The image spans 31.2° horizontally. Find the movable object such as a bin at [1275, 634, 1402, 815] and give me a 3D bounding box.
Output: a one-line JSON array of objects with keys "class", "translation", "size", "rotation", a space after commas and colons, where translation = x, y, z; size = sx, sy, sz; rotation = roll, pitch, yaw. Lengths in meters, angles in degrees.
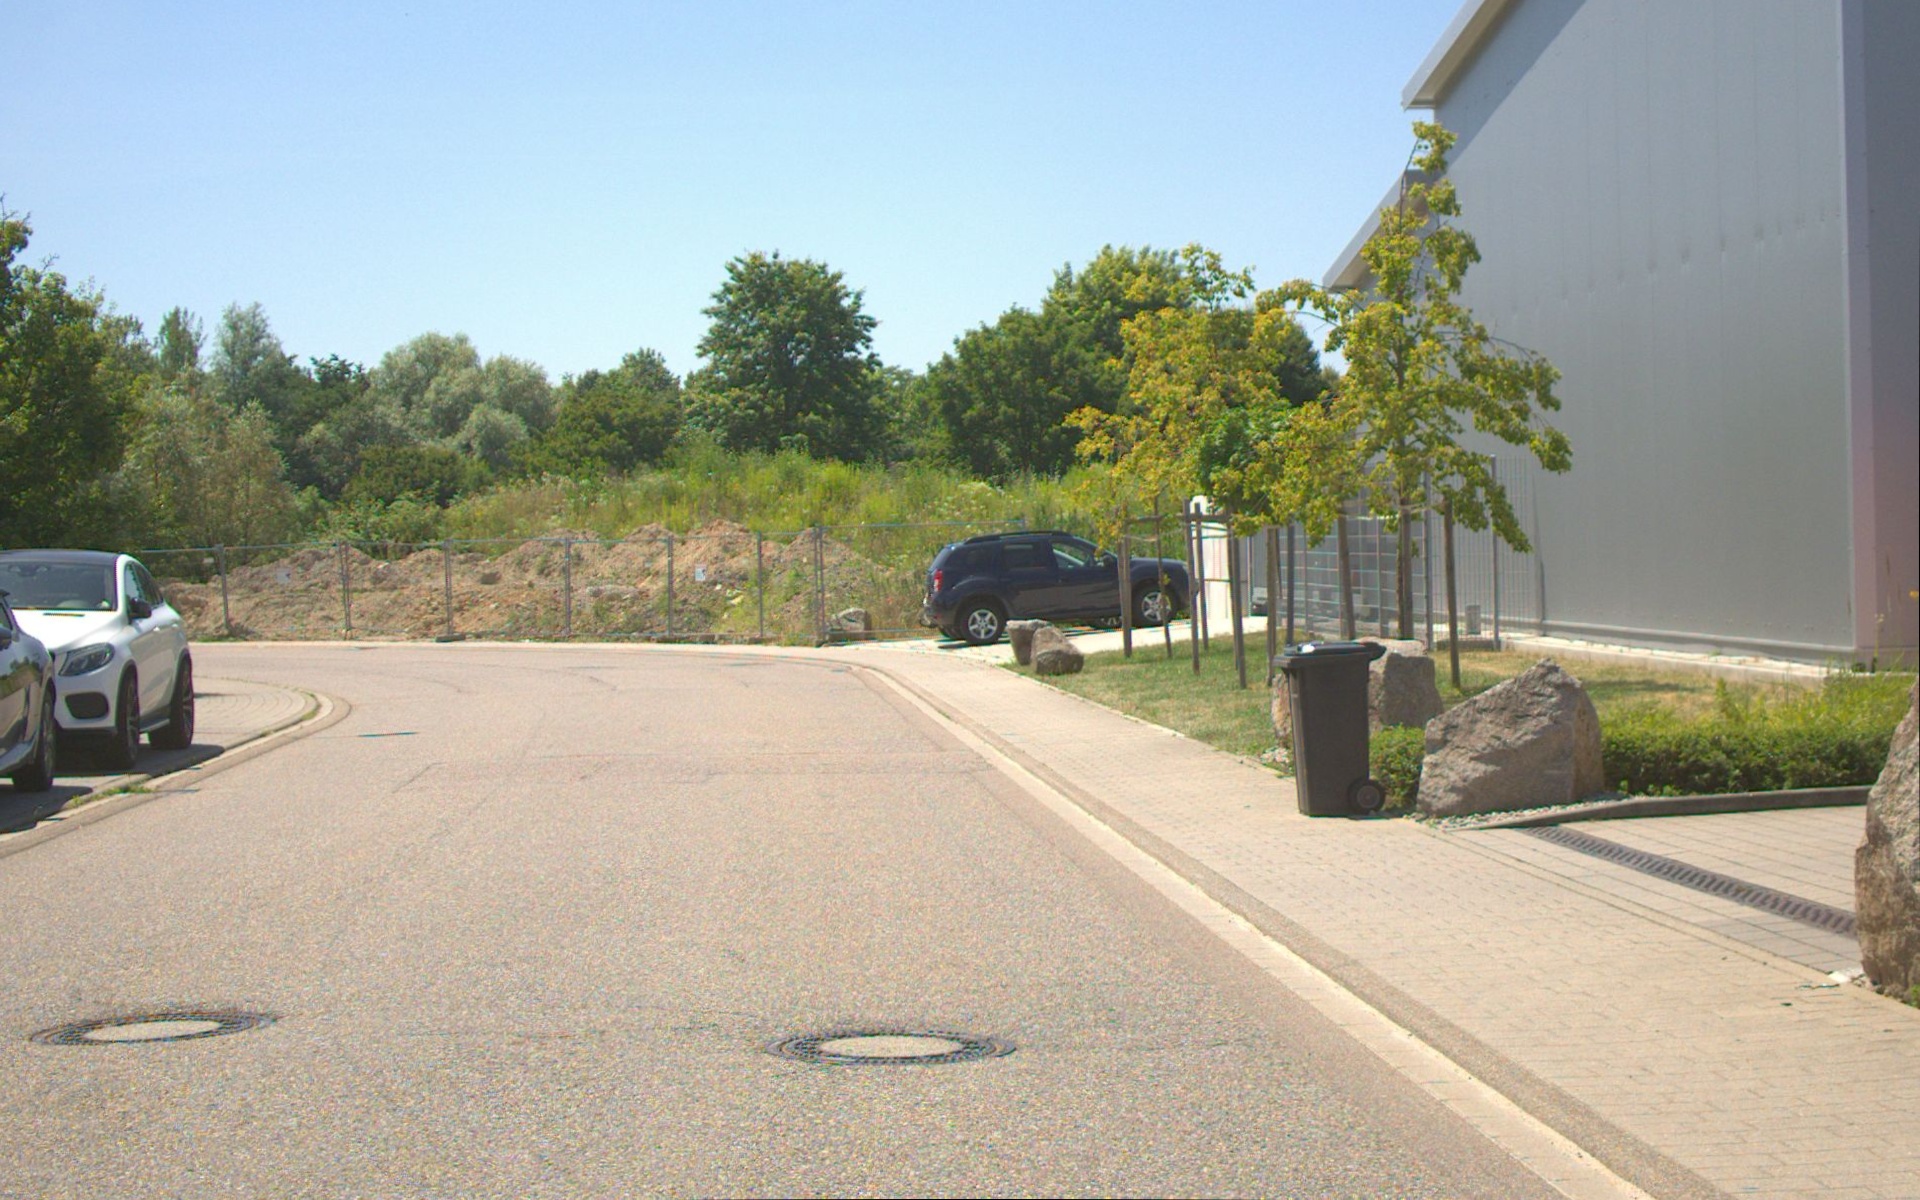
[{"class": "movable object such as a bin", "translation": [2.063, 0.673, 18.778], "size": [0.558, 0.943, 0.539], "rotation": [-2, 1, -5]}]

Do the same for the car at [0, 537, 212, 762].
[{"class": "car", "translation": [-7.436, 0.347, 28.032], "size": [1.912, 1.649, 4.755], "rotation": [-2, 1, -4]}]

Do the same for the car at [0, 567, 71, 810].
[{"class": "car", "translation": [-7.110, 0.552, 22.550], "size": [1.912, 1.486, 4.414], "rotation": [0, 1, -7]}]

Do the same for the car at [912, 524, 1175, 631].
[{"class": "car", "translation": [1.335, -0.377, 55.955], "size": [4.009, 1.457, 1.893], "rotation": [-4, 1, -5]}]

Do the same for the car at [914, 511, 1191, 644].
[{"class": "car", "translation": [1.407, -0.362, 53.569], "size": [4.009, 1.649, 1.858], "rotation": [-6, 1, -4]}]
